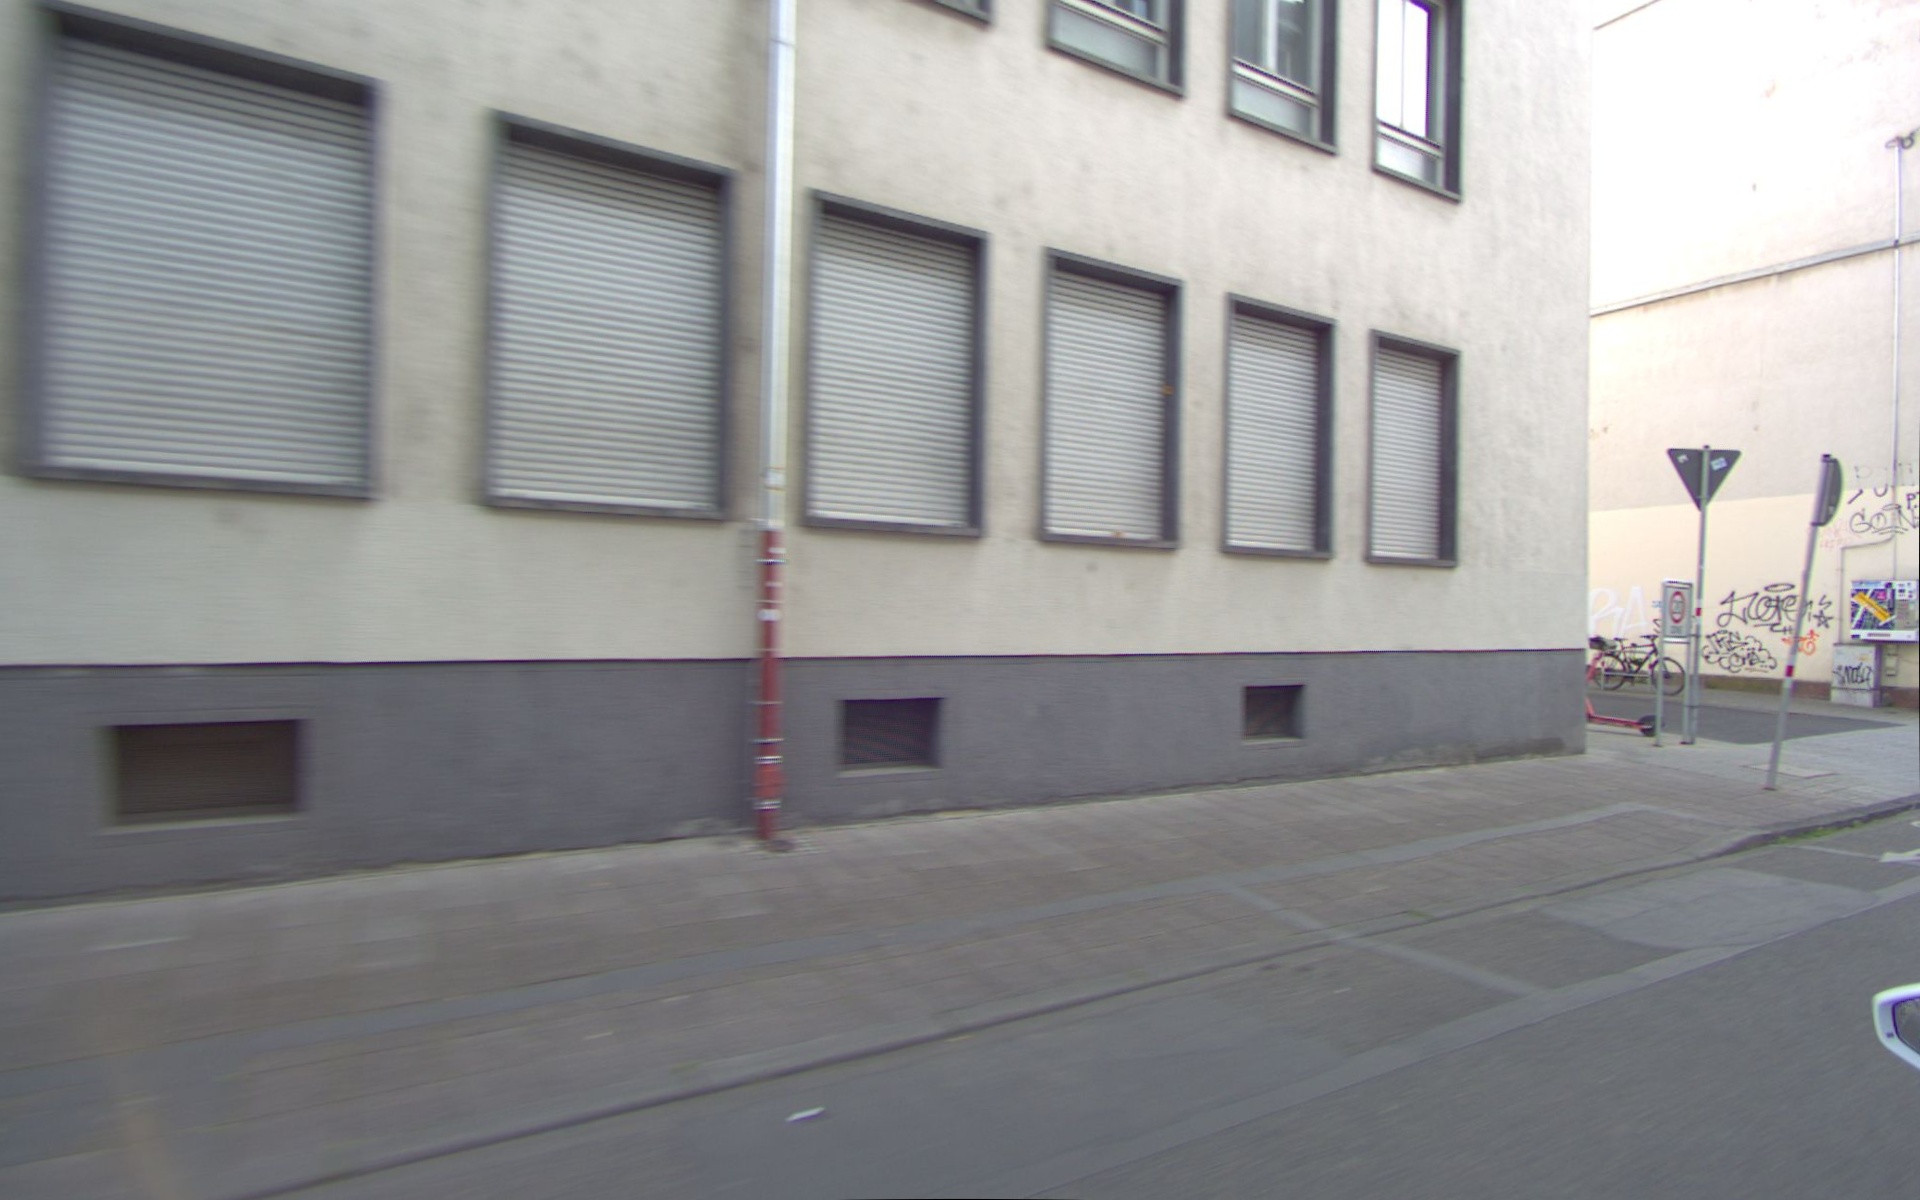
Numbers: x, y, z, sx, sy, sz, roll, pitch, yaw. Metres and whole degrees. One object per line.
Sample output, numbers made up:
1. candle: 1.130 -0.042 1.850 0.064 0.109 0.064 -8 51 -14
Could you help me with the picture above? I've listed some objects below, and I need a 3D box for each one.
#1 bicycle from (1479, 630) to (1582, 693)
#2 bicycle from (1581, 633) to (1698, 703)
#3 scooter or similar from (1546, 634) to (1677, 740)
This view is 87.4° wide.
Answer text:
1. bicycle: 12.050 1.274 21.278 0.618 1.233 1.923 2 -1 -22
2. bicycle: 13.125 1.282 19.480 0.617 1.233 1.926 2 -1 -16
3. scooter or similar: 8.510 1.104 13.134 1.343 1.217 0.531 4 1 36
